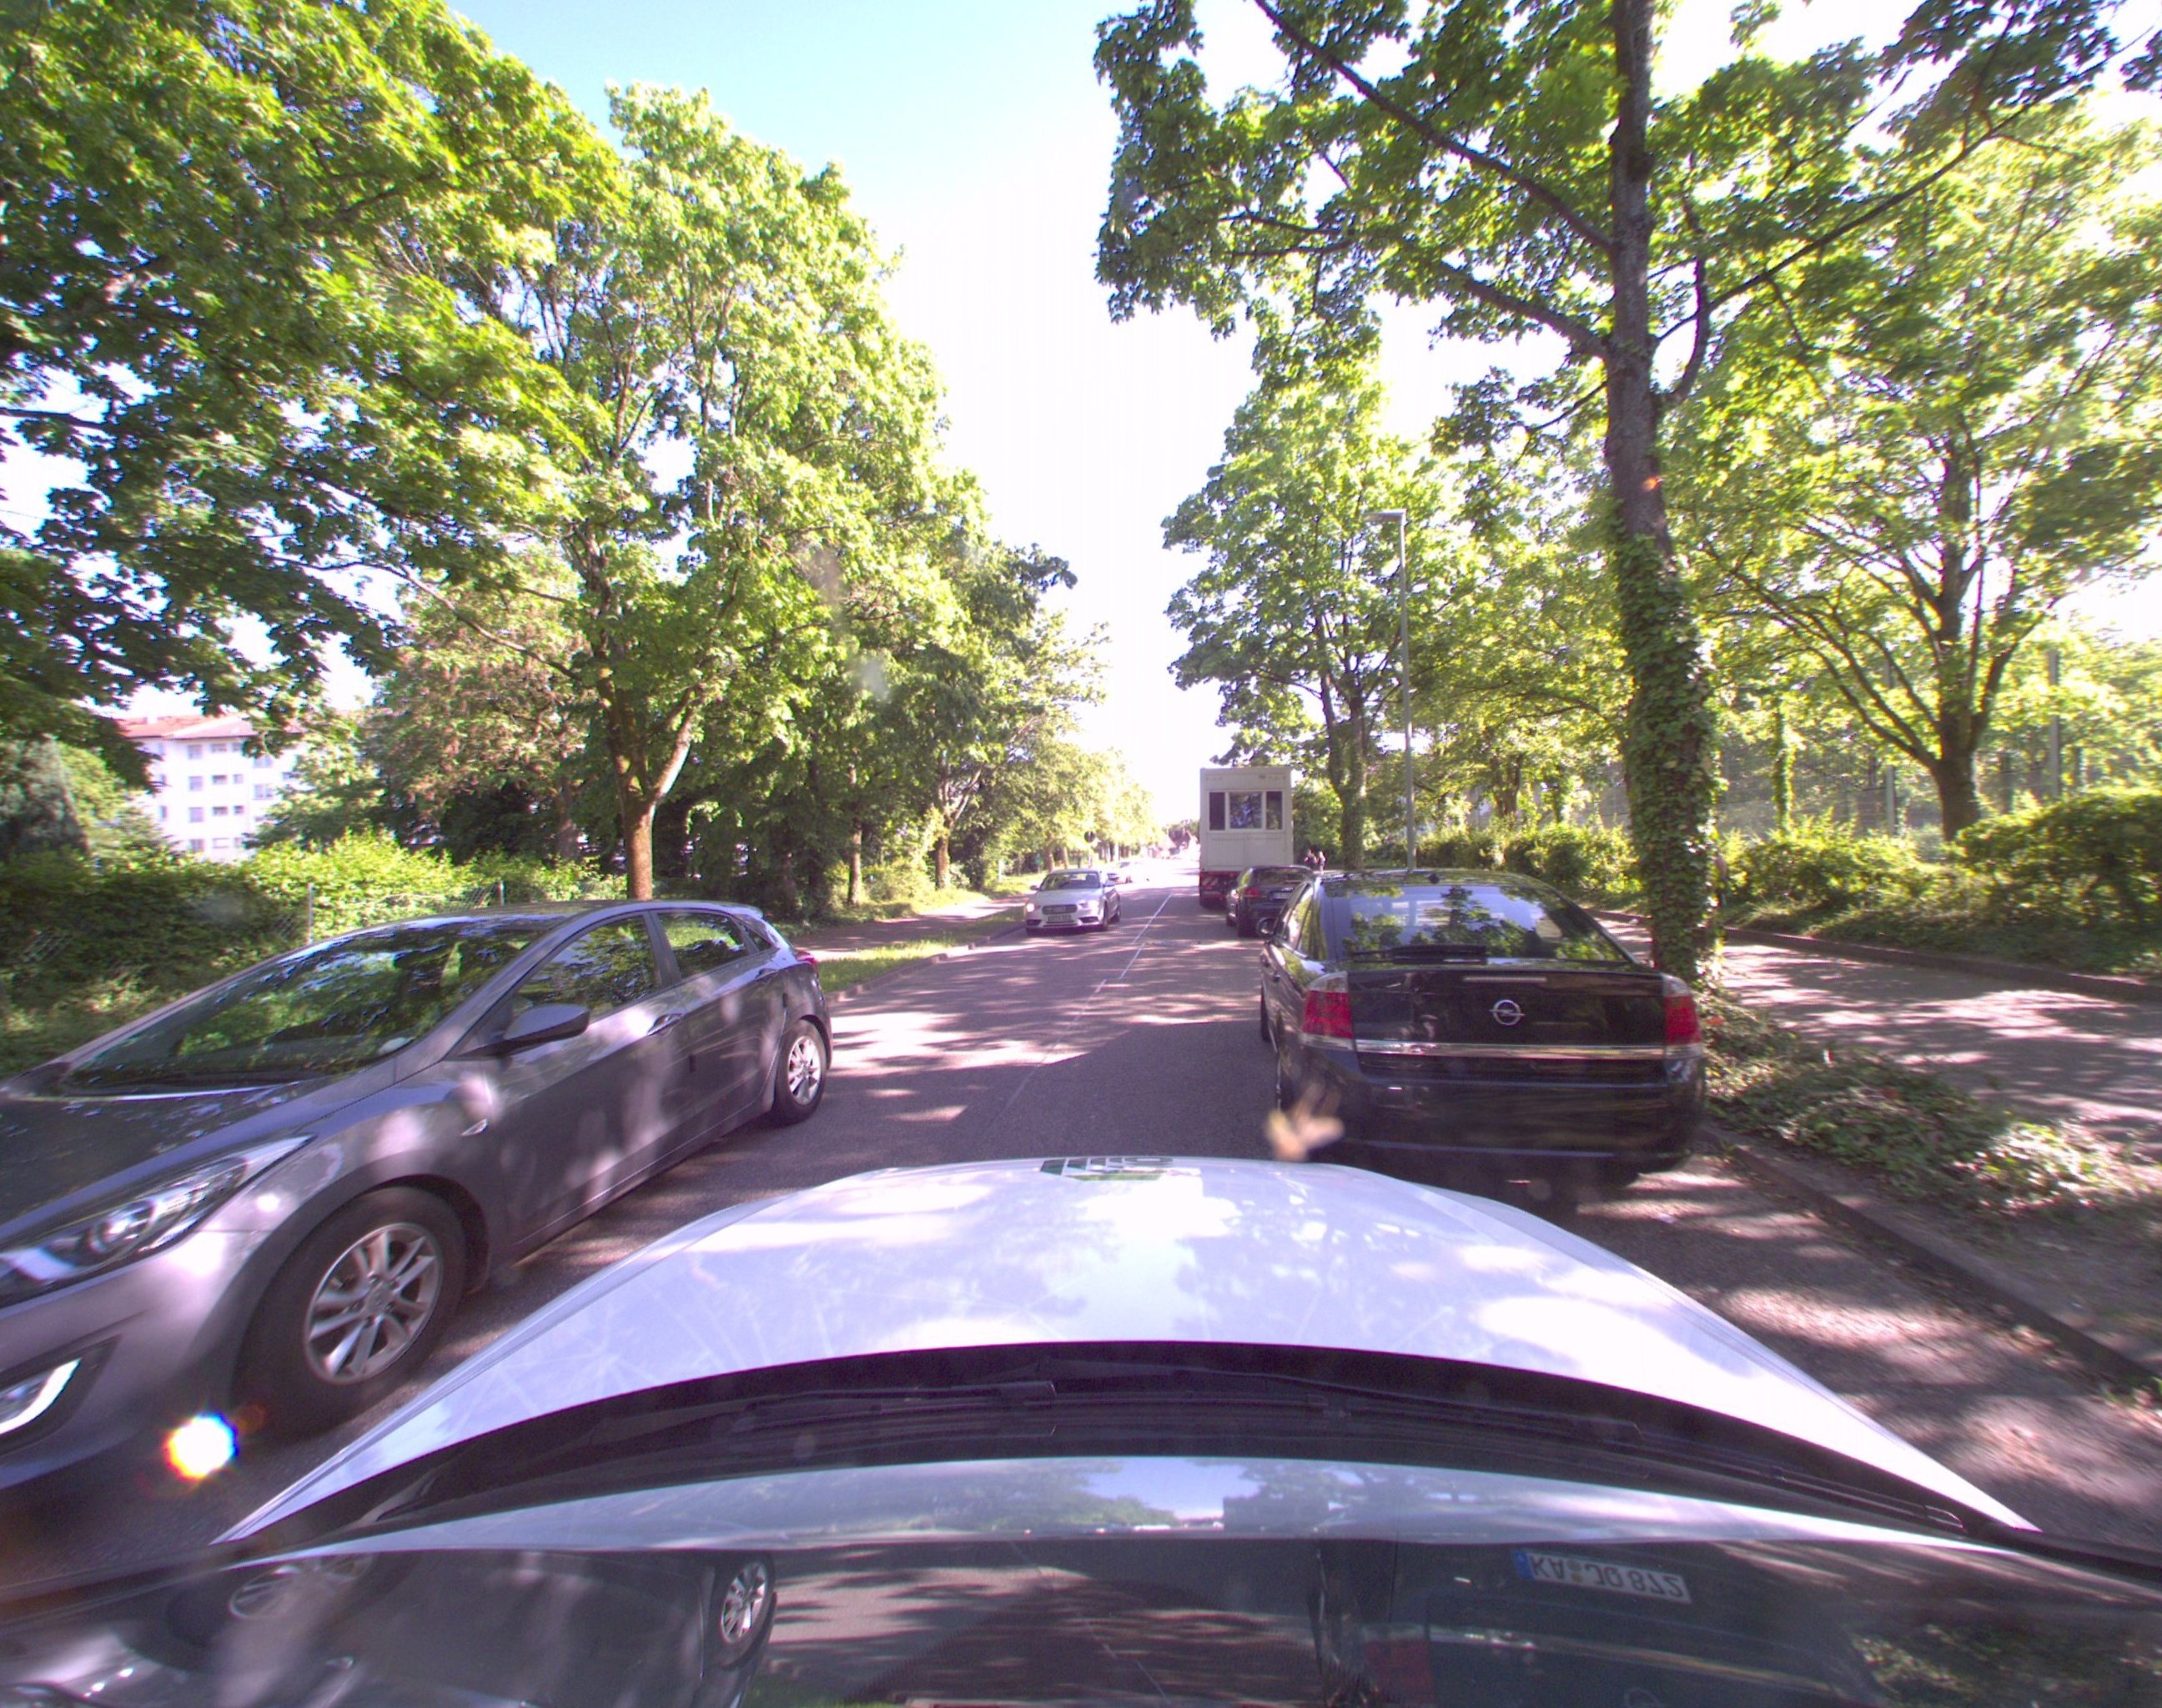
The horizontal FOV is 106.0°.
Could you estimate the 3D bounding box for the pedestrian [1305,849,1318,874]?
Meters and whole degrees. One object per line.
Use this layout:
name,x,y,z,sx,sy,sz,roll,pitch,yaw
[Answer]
pedestrian,15.044,0.499,53.181,0.595,1.611,0.601,-3,-1,5

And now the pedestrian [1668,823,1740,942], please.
pedestrian,8.710,0.387,11.411,0.567,1.608,0.674,-2,0,17

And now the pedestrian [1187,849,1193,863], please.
pedestrian,16.099,0.265,120.395,0.747,2.113,0.801,0,0,11

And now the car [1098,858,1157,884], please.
car,3.018,1.059,52.232,1.788,1.420,3.985,-4,-1,37

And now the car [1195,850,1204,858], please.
car,27.647,-0.030,189.896,1.771,1.808,4.008,-3,-1,7

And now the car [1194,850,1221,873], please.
car,10.676,0.597,69.045,1.937,1.843,4.006,-2,0,5

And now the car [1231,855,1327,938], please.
car,4.006,0.784,16.969,1.629,1.420,4.012,-4,0,10

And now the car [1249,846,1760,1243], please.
car,2.018,0.743,5.176,1.737,1.480,4.041,-1,-1,10

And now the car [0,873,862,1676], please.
car,-2.735,0.921,3.701,1.745,1.454,4.252,-3,0,8

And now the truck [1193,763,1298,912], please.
truck,5.154,-0.444,27.184,2.757,3.996,10.371,-1,0,8

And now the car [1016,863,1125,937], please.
car,-0.121,0.992,19.236,1.776,1.416,4.115,-3,0,10

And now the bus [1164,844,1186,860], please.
bus,21.020,-0.427,181.808,4.039,3.349,9.829,-3,0,10

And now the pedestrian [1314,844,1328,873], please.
pedestrian,15.604,0.300,52.961,0.694,1.812,0.701,-3,-1,5
